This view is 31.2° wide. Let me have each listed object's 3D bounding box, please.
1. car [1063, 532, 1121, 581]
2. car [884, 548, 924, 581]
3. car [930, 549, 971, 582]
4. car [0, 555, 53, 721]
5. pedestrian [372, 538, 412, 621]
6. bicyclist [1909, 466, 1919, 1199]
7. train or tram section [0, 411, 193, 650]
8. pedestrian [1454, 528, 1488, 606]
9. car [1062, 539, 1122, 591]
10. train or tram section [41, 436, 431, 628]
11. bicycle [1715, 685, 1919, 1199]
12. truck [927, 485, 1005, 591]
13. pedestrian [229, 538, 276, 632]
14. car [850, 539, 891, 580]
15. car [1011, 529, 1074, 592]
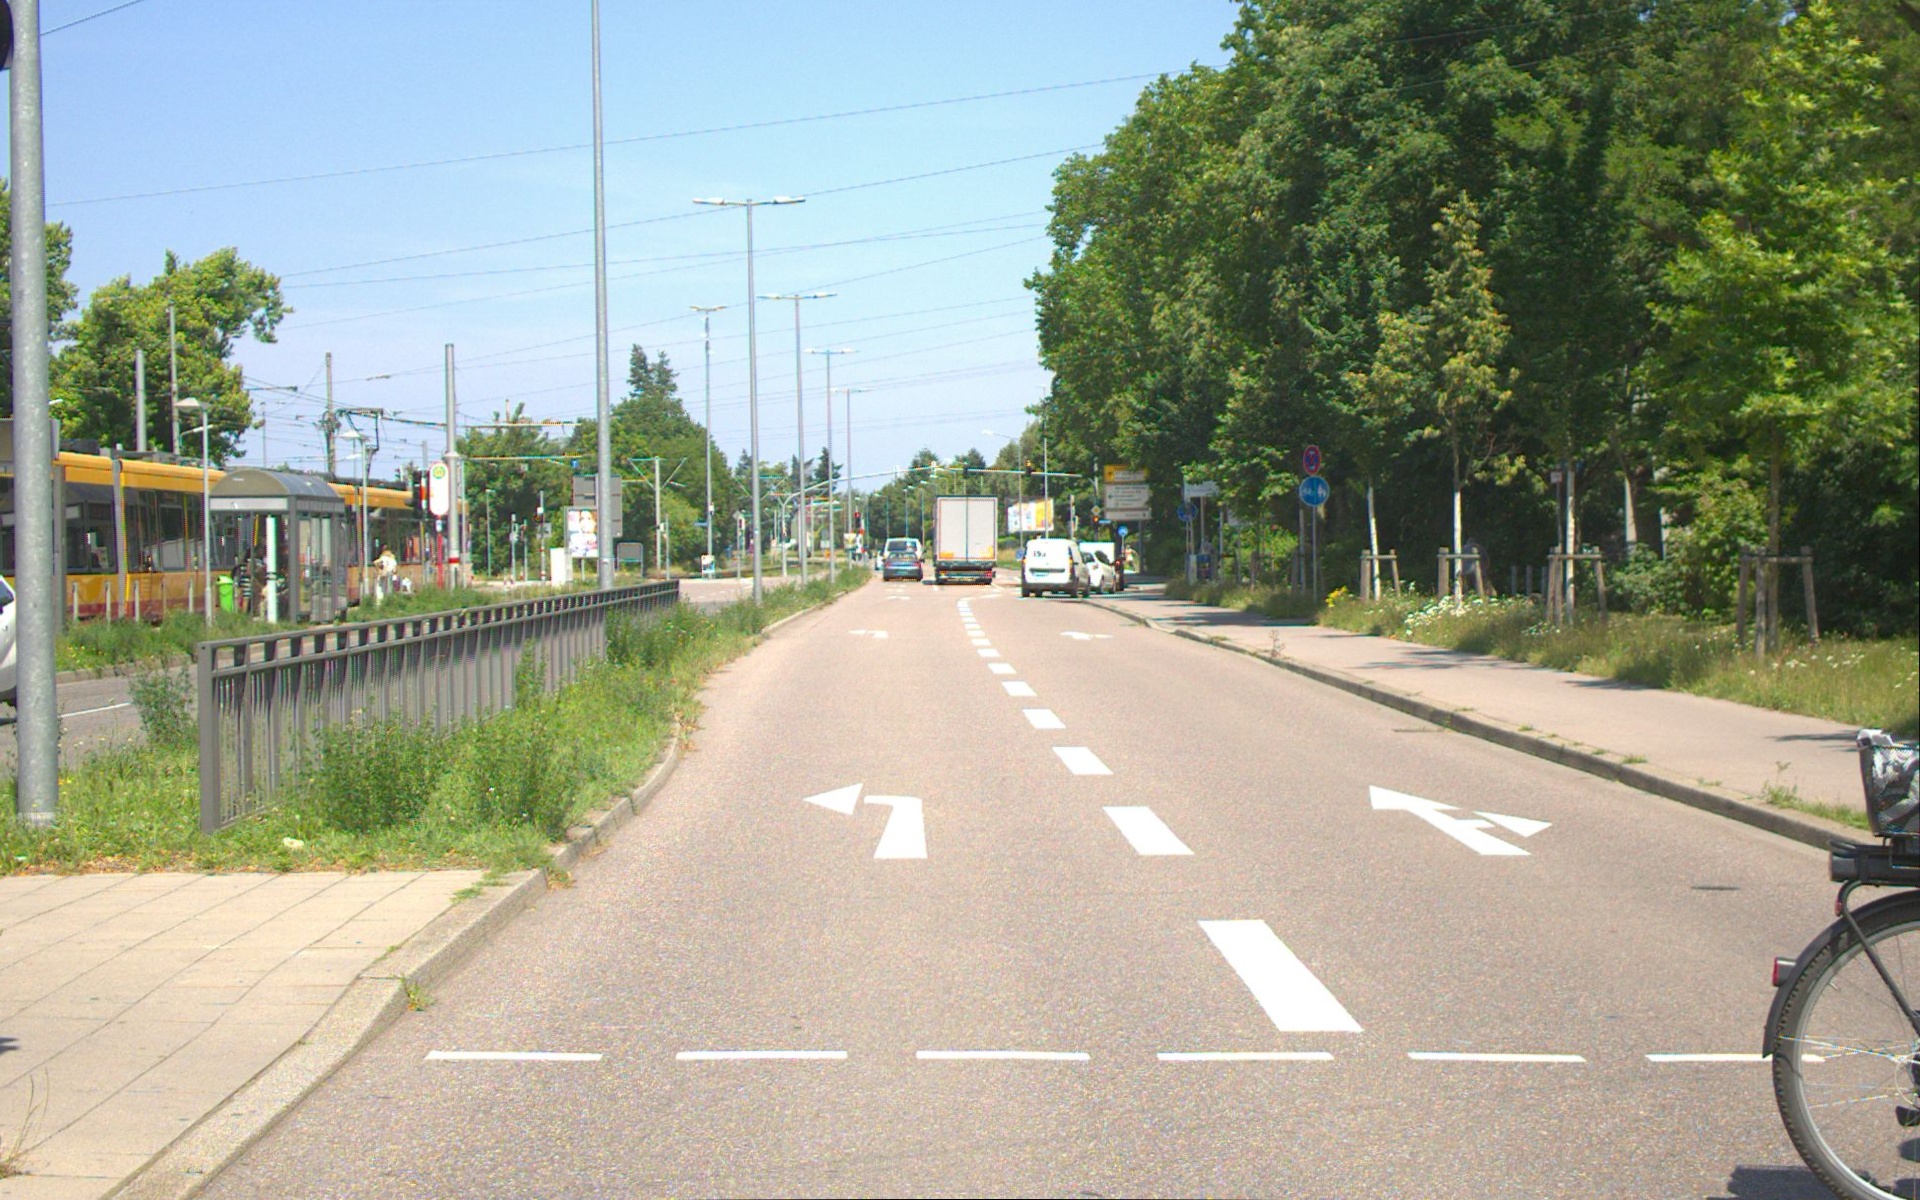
[{"bbox_3d":[4.545,-1.517,118.798,1.779,1.663,4.000,0,1,-1],"label":"car"},{"bbox_3d":[-2.568,-1.642,157.978,1.811,1.459,4.000,0,1,-1],"label":"car"},{"bbox_3d":[-0.434,-1.559,153.627,1.811,1.459,4.000,0,1,-1],"label":"car"},{"bbox_3d":[-9.559,0.353,30.875,1.845,1.489,3.791,0,1,-1],"label":"car"},{"bbox_3d":[-13.820,-0.512,83.664,0.815,2.007,0.938,0,1,-1],"label":"pedestrian"},{"bbox_3d":[2.645,0.539,7.554,0.957,1.661,0.580,0,2,3],"label":"bicyclist"},{"bbox_3d":[-16.502,-1.068,52.954,2.957,3.736,30.035,0,1,-1],"label":"train or tram section"},{"bbox_3d":[9.427,-0.618,63.426,0.604,1.433,0.556,0,1,6],"label":"pedestrian"},{"bbox_3d":[4.296,-1.152,112.393,1.779,1.663,4.000,0,1,-1],"label":"car"},{"bbox_3d":[-16.864,-1.634,84.501,2.931,3.776,33.090,0,1,-1],"label":"train or tram section"},{"bbox_3d":[2.630,0.781,7.242,1.957,1.157,0.541,0,2,3],"label":"bicycle"},{"bbox_3d":[0.212,-2.635,146.119,3.205,4.344,6.561,0,1,-1],"label":"truck"},{"bbox_3d":[-14.261,-0.306,69.312,0.785,1.862,0.817,0,1,-1],"label":"pedestrian"},{"bbox_3d":[-4.553,-2.077,175.175,1.993,2.007,4.000,0,1,-1],"label":"car"},{"bbox_3d":[2.507,-1.225,105.524,1.779,1.897,4.000,0,1,-1],"label":"car"}]
